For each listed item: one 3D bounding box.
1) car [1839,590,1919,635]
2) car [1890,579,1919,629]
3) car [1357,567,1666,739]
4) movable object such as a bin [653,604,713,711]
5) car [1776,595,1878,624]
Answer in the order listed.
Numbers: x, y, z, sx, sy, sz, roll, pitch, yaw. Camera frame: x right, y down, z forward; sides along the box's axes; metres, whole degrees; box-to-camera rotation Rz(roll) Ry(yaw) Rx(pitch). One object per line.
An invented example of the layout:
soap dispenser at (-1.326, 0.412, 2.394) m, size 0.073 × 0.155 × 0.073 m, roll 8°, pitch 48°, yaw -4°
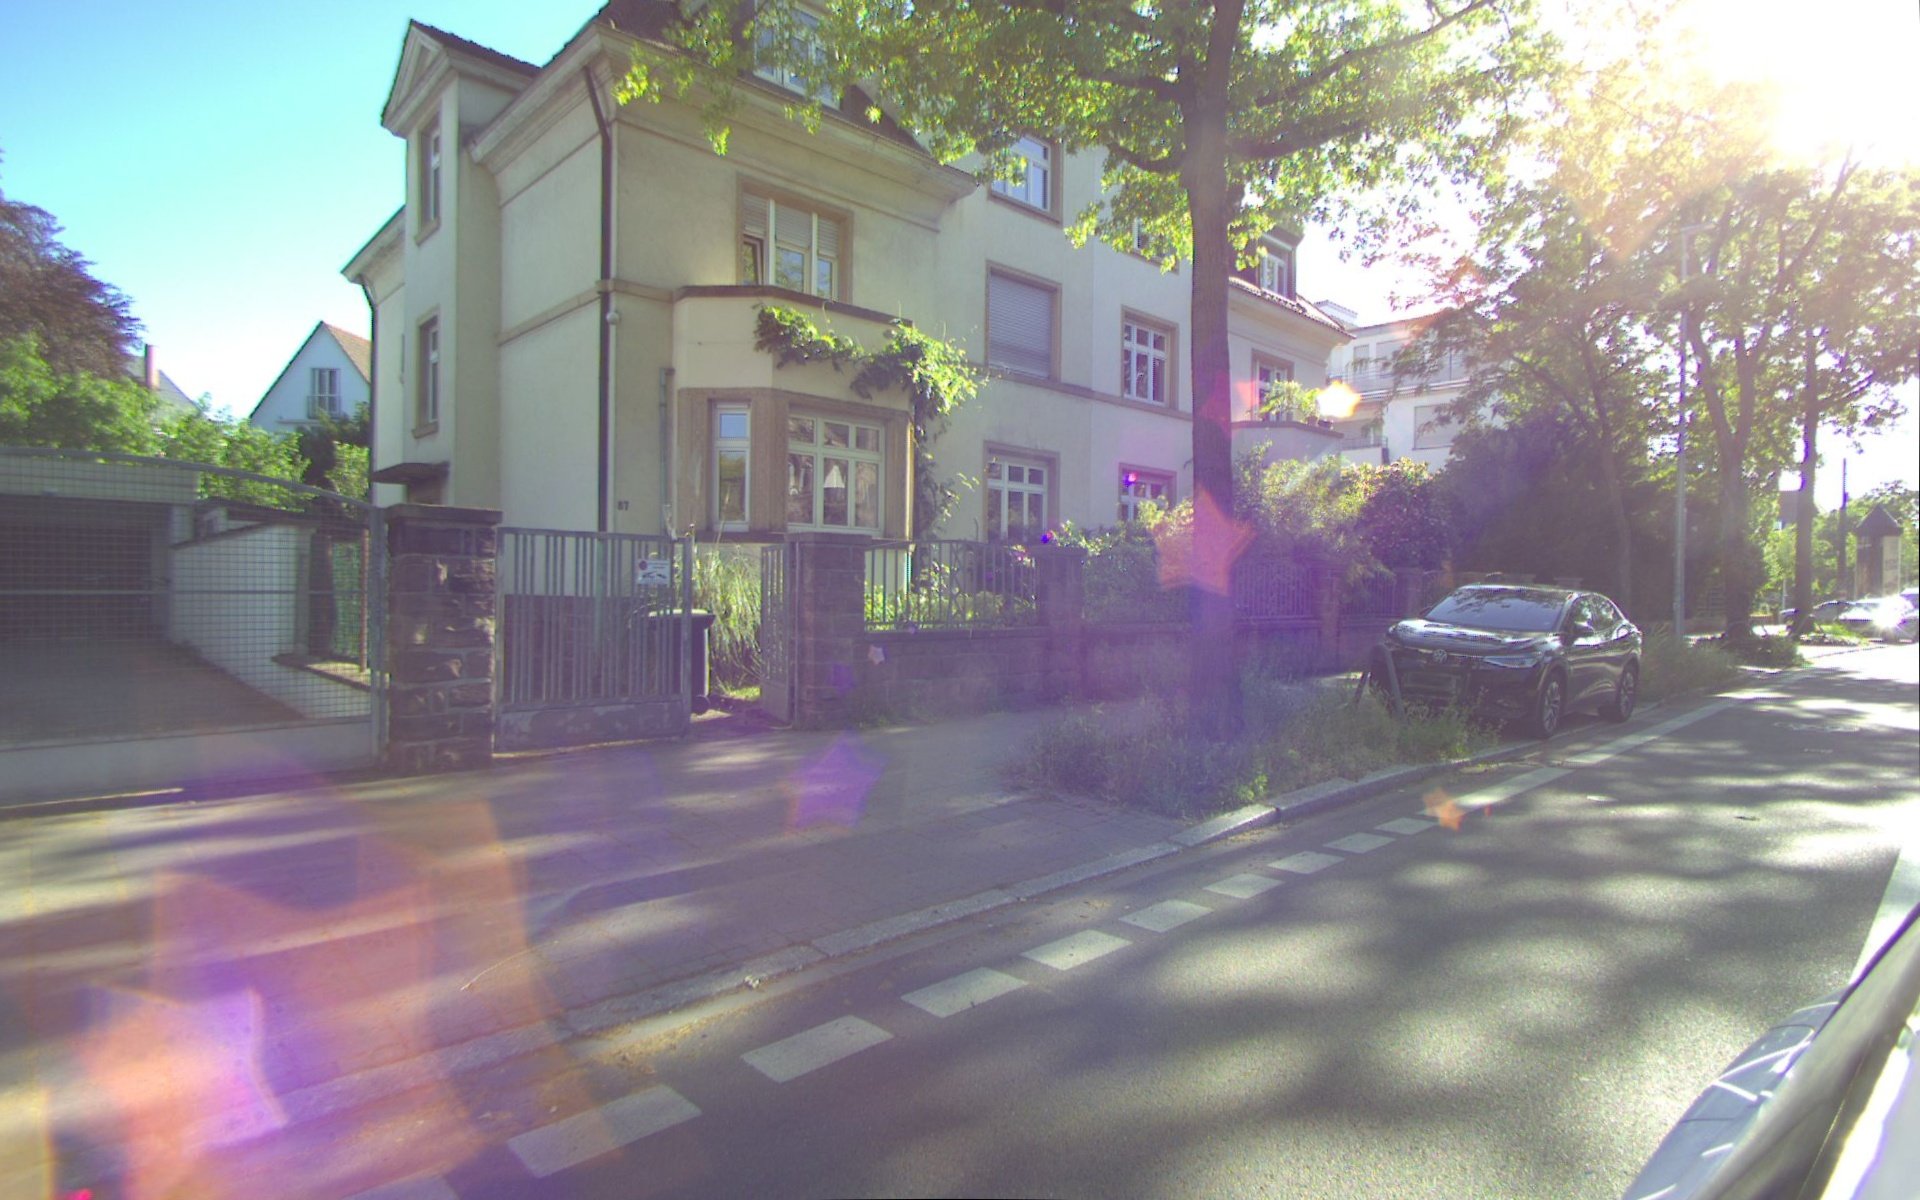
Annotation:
car at (31.519, 0.386, 34.259) m, size 4.181 × 1.427 × 1.901 m, roll 0°, pitch 1°, yaw -38°
car at (36.680, 0.133, 37.840) m, size 4.580 × 1.808 × 1.903 m, roll 0°, pitch 1°, yaw -35°
car at (6.712, 0.497, 12.127) m, size 4.186 × 1.619 × 1.917 m, roll 0°, pitch 4°, yaw -42°
movable object such as a bin at (-2.921, 0.586, 10.664) m, size 0.551 × 1.062 × 0.676 m, roll 0°, pitch 0°, yaw -20°
car at (46.078, 0.464, 53.821) m, size 1.784 × 1.459 × 3.990 m, roll 0°, pitch 1°, yaw -44°
